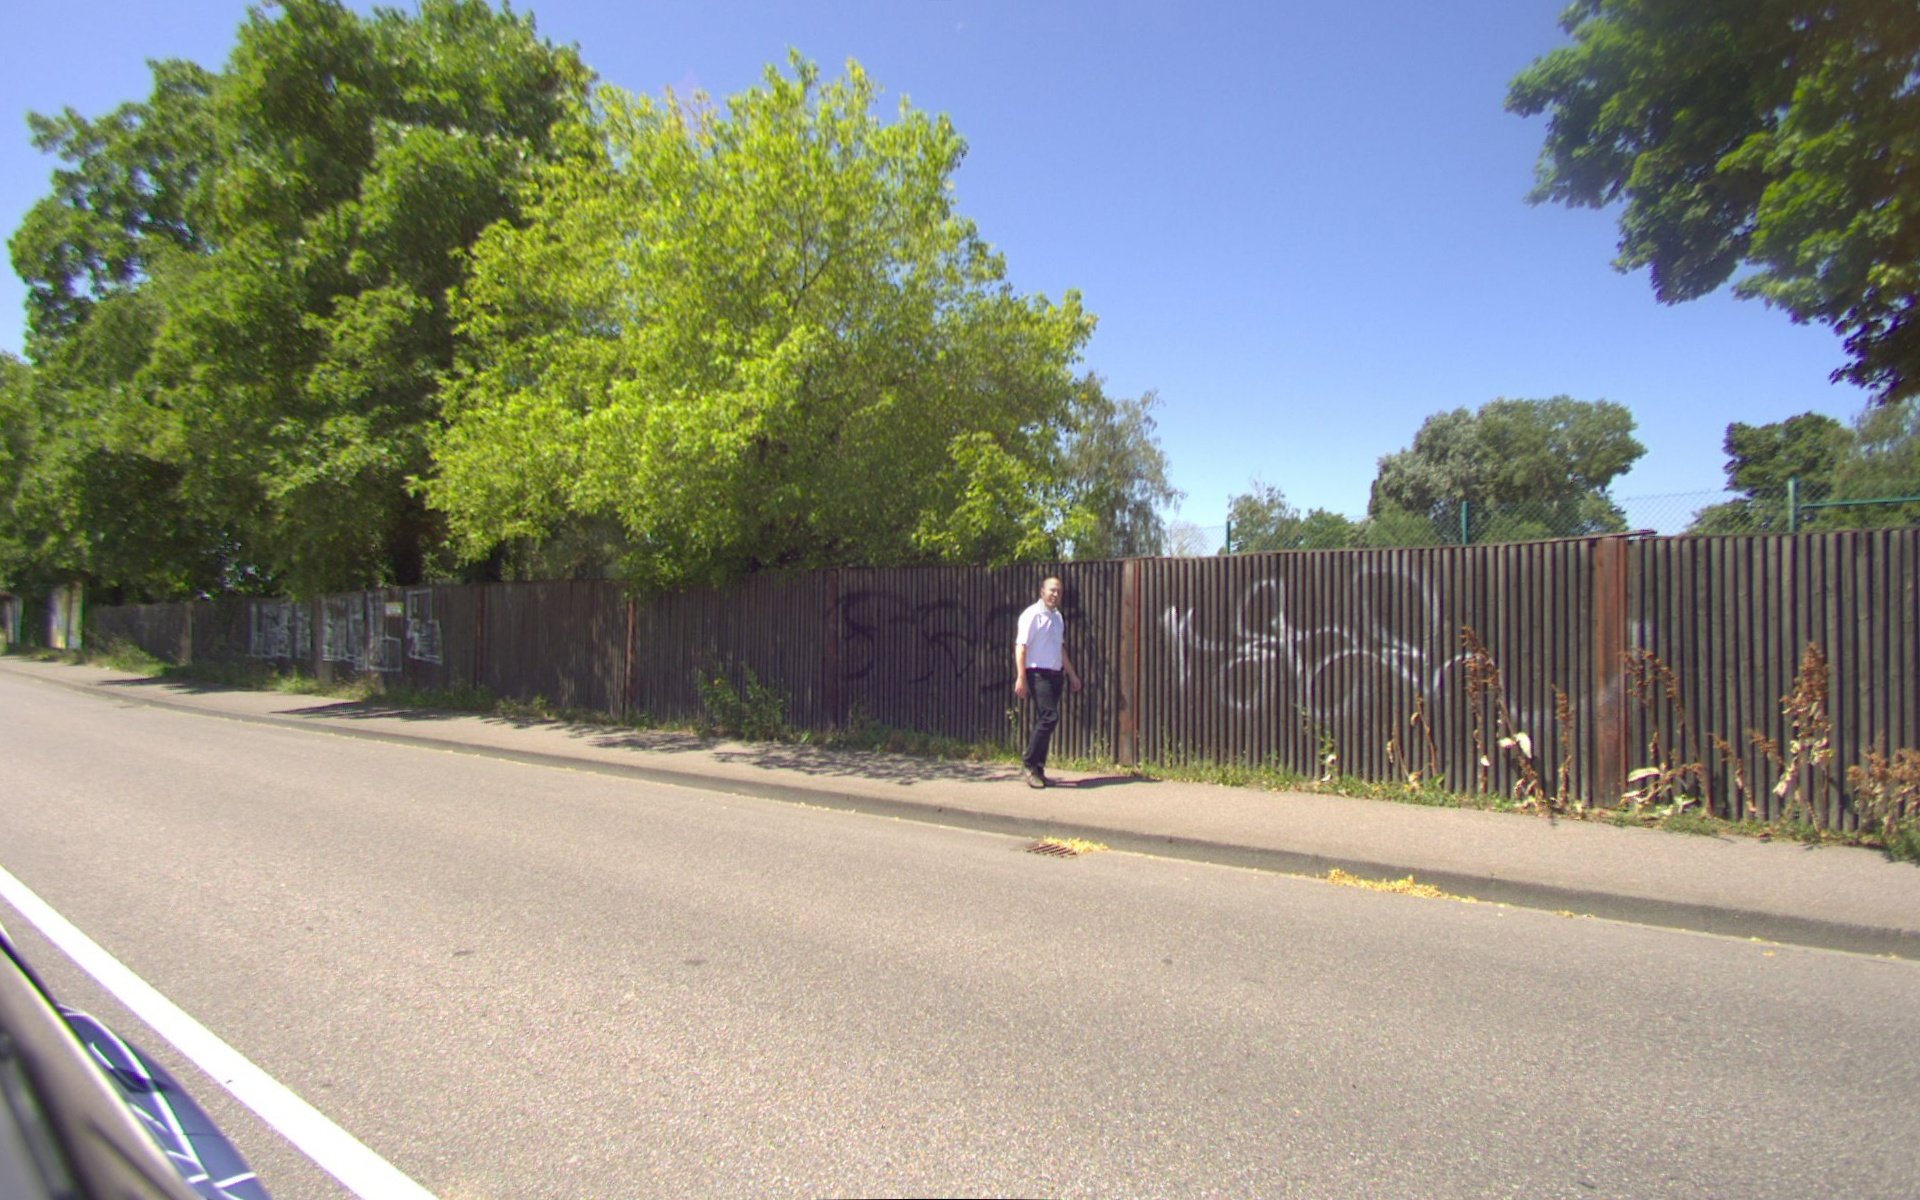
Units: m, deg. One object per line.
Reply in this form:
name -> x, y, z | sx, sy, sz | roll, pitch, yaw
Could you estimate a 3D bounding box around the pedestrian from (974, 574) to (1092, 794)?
pedestrian -> 0.642, 0.706, 8.944 | 0.850, 1.838, 0.586 | -1, -1, 41
